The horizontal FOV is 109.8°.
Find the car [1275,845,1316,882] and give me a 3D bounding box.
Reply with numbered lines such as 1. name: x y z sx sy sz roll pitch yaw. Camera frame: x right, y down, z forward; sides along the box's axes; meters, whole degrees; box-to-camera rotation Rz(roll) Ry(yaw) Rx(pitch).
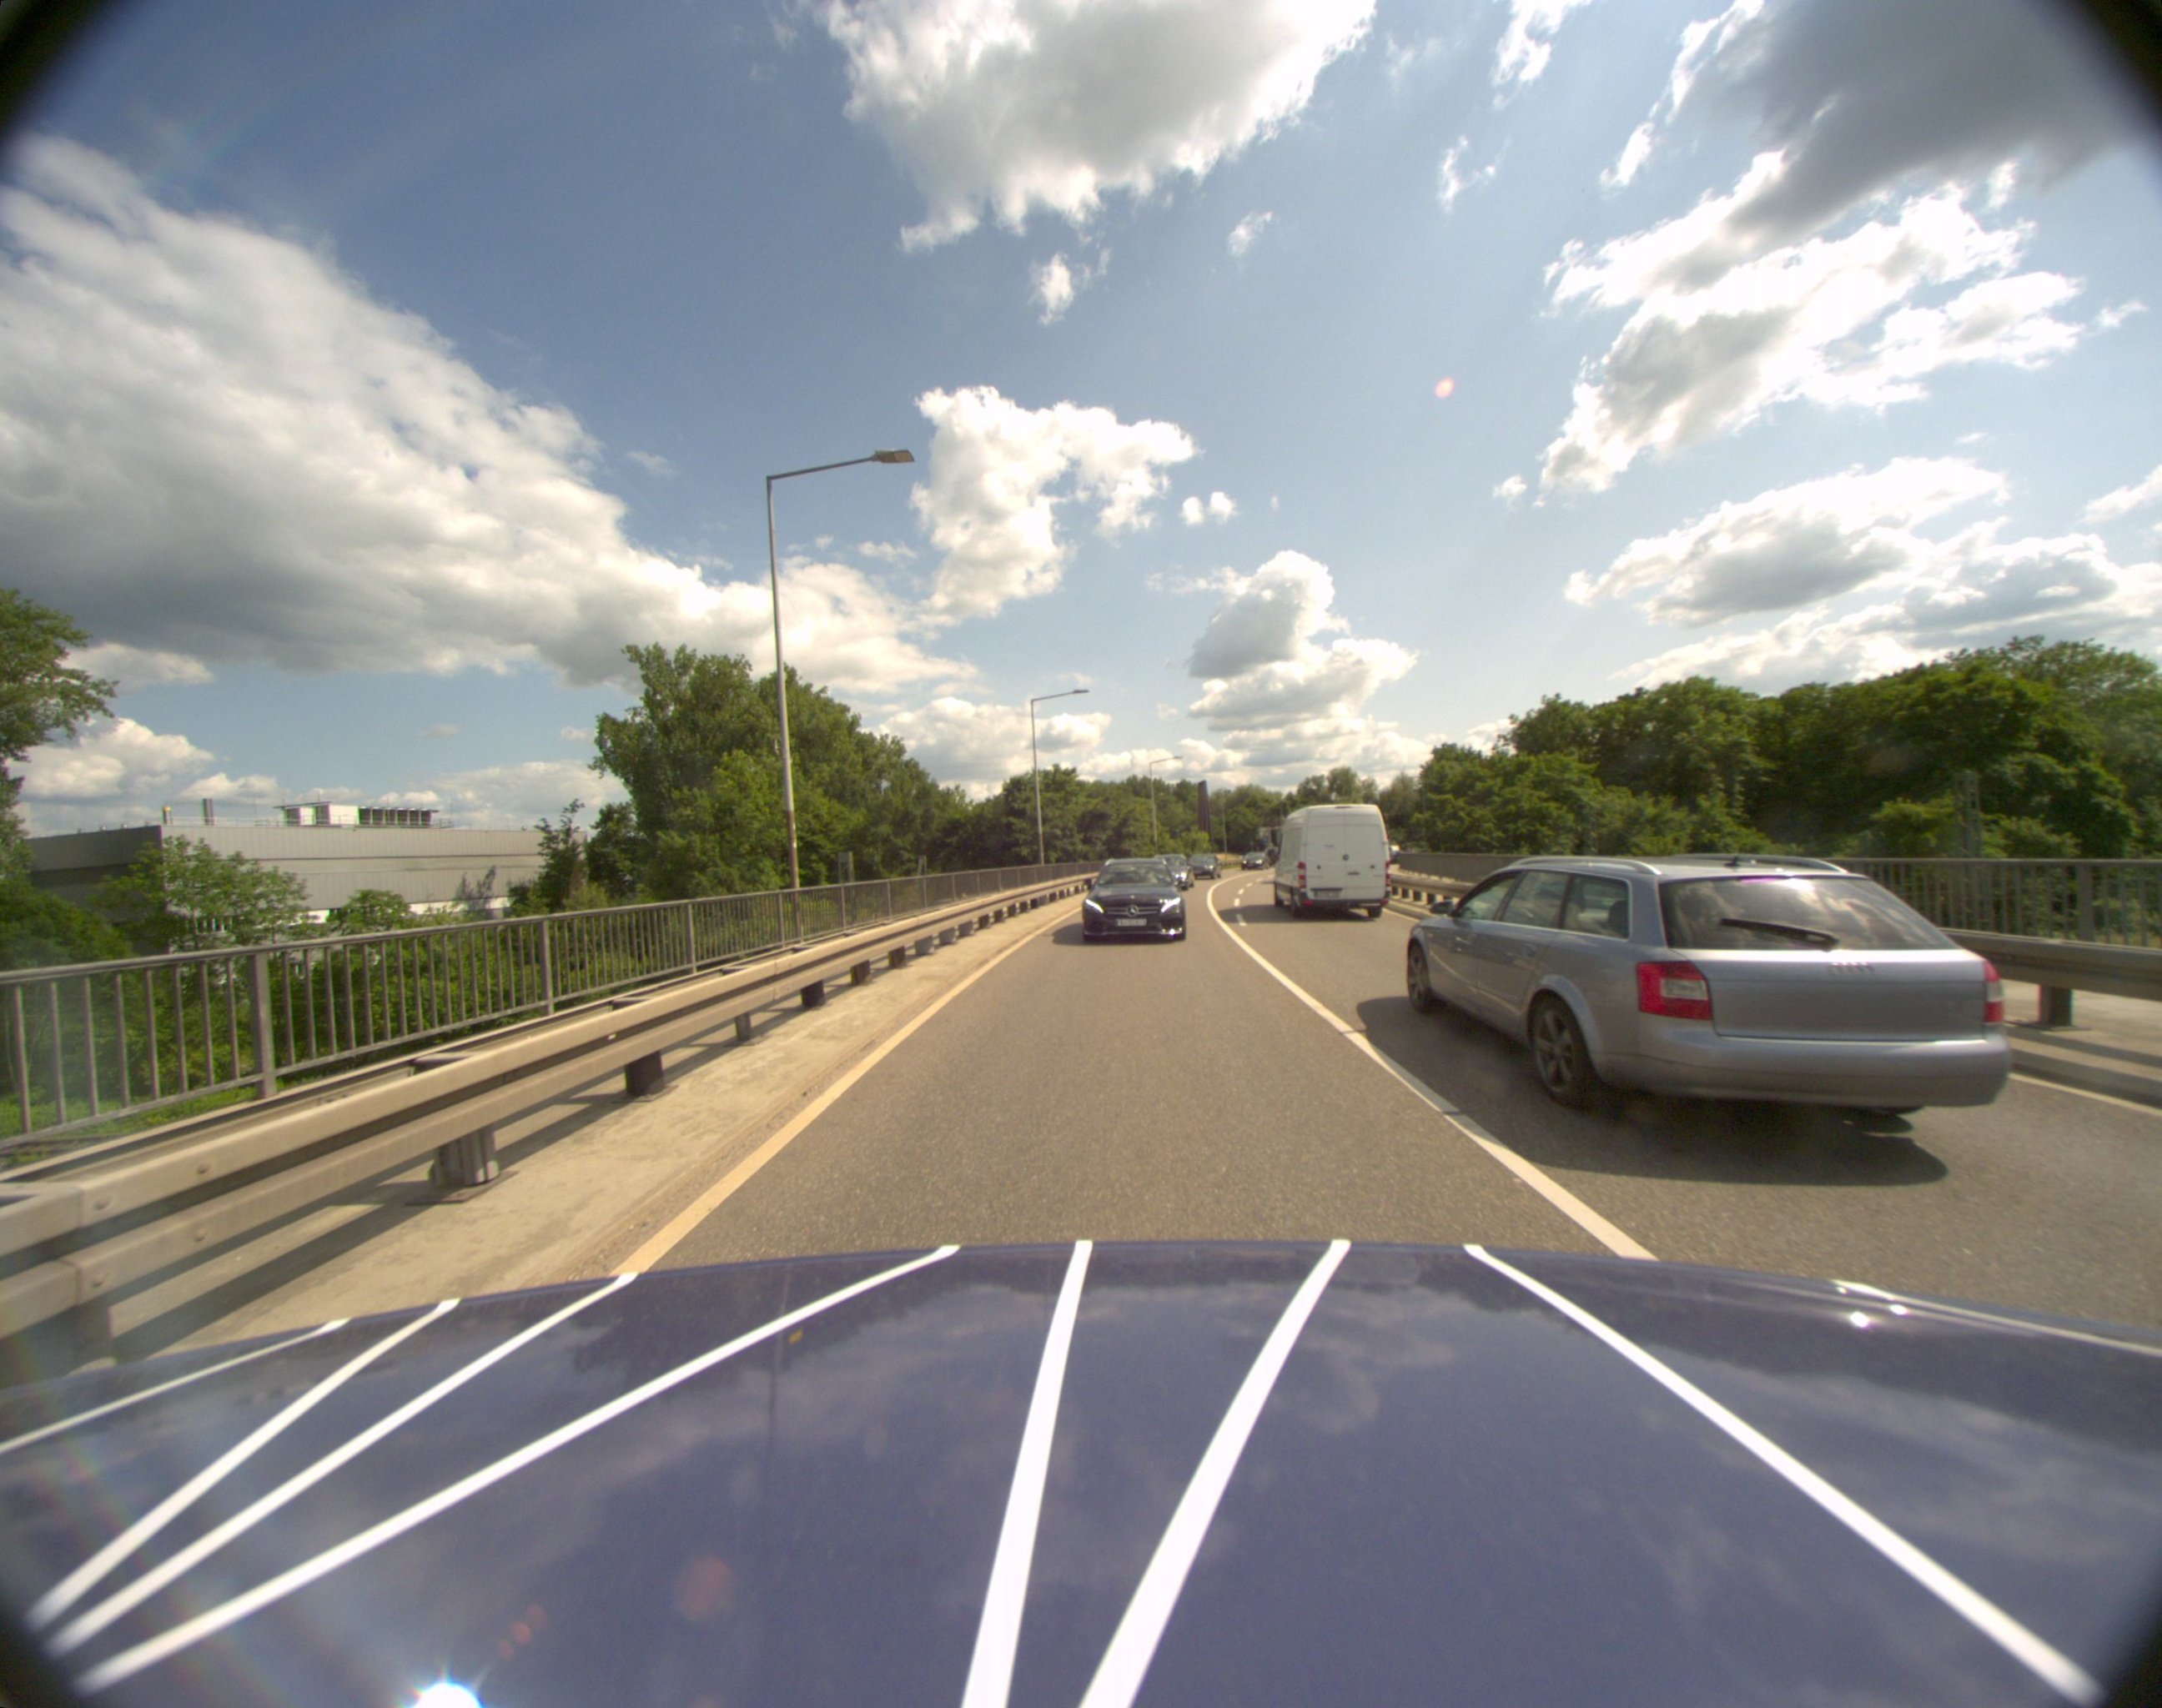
1. car: 10.421 0.421 36.752 1.719 1.622 4.433 -1 1 18

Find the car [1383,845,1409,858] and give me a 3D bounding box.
1. car: 35.269 -0.289 85.012 1.748 1.441 4.345 0 1 36

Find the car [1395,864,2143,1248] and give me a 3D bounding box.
1. car: 3.725 0.874 5.329 1.769 1.451 4.300 -2 1 8

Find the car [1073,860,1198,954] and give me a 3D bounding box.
1. car: 1.218 0.882 14.709 1.793 1.427 4.373 0 1 12

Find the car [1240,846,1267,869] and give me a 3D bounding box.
1. car: 14.117 0.278 62.008 1.635 1.505 3.723 -4 3 20

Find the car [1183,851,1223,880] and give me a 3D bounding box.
1. car: 7.039 0.639 43.479 1.820 1.330 4.732 -4 1 13

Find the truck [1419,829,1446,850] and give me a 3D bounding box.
1. truck: 46.793 -1.915 101.055 1.994 2.606 6.116 1 1 36

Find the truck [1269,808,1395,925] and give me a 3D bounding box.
1. truck: 6.087 0.254 19.185 1.997 2.493 5.951 -1 1 8

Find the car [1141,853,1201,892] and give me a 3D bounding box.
1. car: 3.773 0.721 31.400 1.856 1.355 4.004 -1 2 15

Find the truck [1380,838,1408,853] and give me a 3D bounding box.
1. truck: 40.460 -1.098 98.166 1.961 1.902 5.381 -1 0 37
